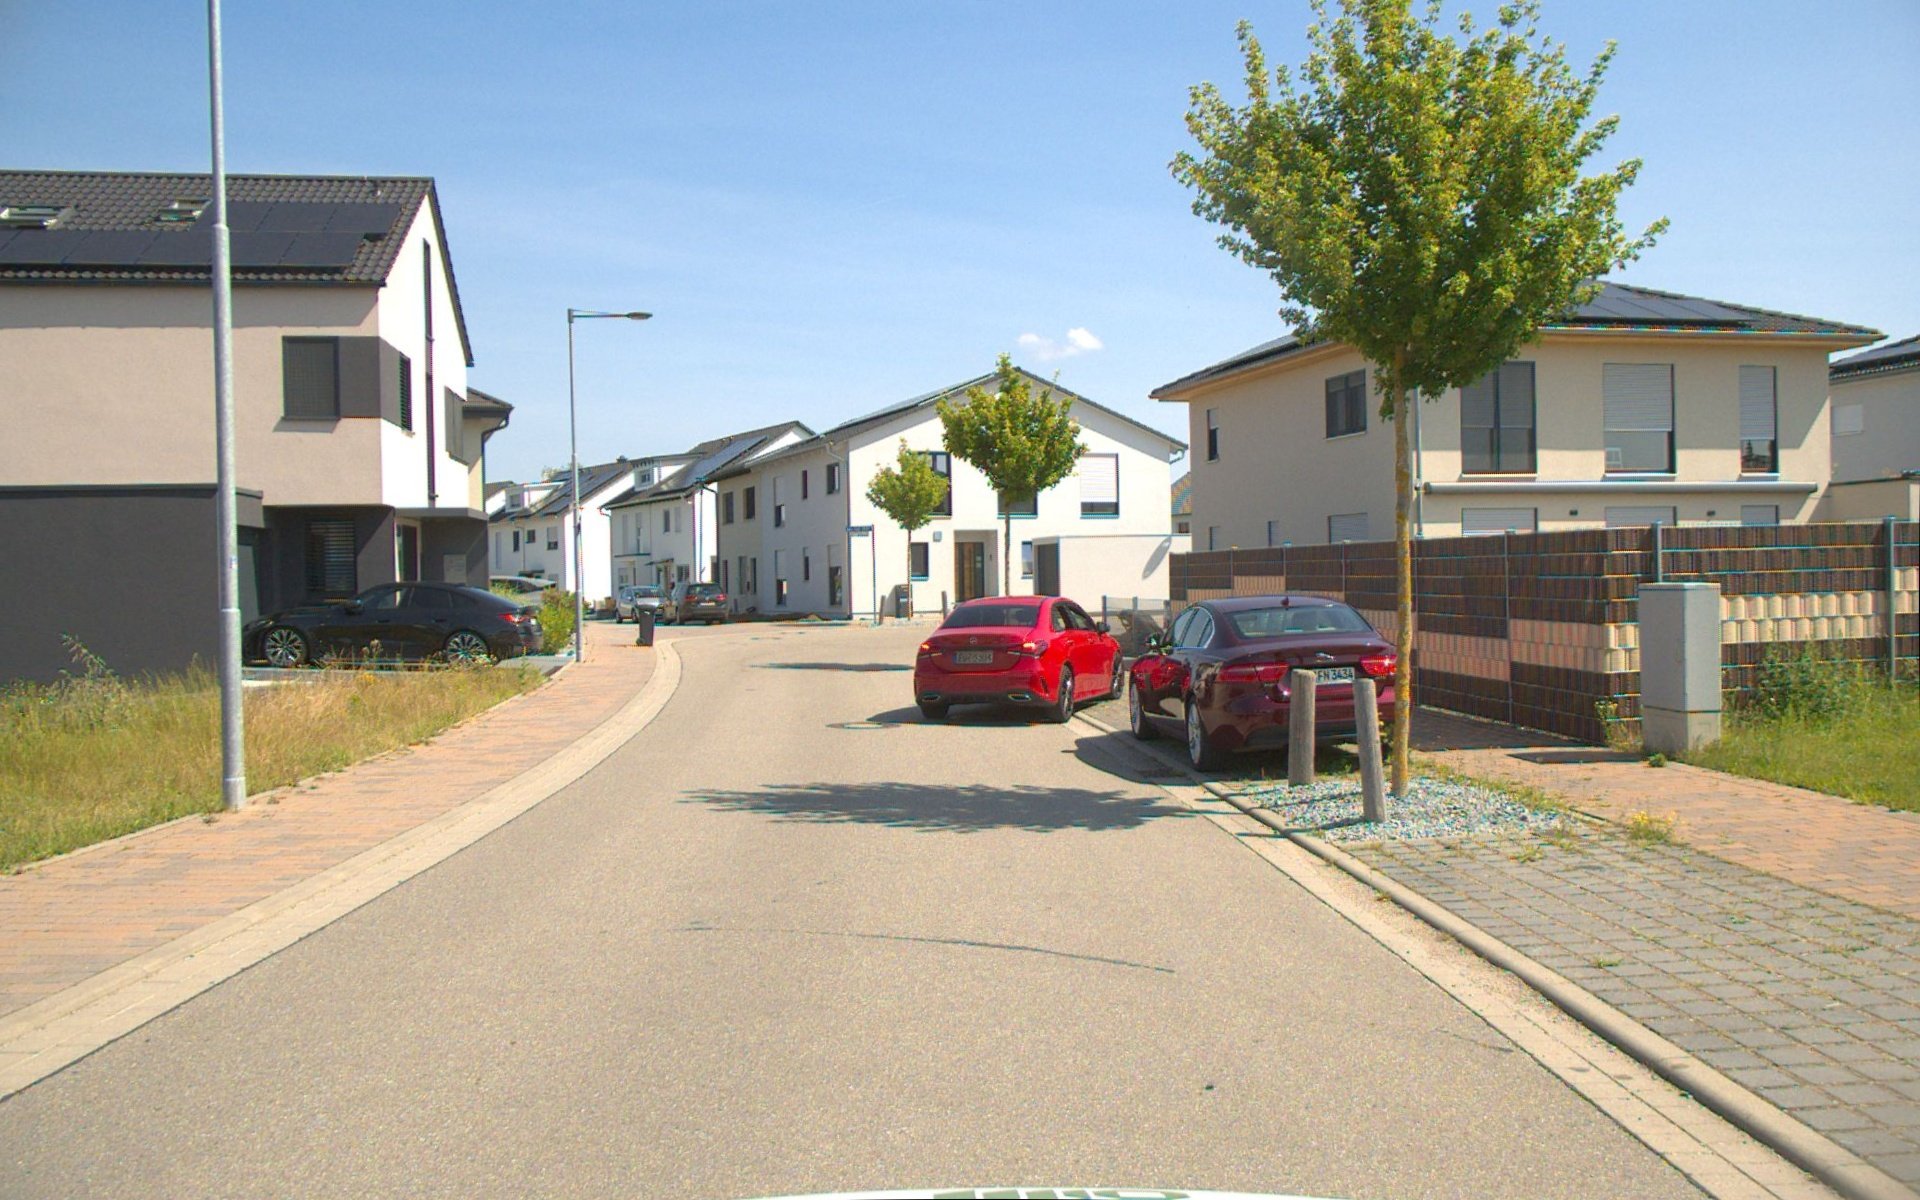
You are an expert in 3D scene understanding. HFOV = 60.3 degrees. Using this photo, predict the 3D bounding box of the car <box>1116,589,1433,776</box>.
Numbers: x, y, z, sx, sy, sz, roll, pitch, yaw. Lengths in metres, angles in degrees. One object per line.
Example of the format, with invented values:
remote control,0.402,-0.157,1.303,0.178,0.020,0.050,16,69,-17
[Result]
car,2.687,0.629,15.248,1.720,1.387,4.572,-2,1,-4

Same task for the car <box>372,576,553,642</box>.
car,-11.965,0.194,39.970,3.910,1.512,1.752,-1,1,-6

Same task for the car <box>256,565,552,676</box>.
car,-9.022,0.331,27.161,4.293,1.660,1.768,1,0,-8

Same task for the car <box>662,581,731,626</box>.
car,-9.170,0.101,57.364,1.701,1.447,3.978,-2,1,-19

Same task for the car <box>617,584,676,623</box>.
car,-12.670,0.137,66.718,1.653,1.489,3.919,-2,1,-21

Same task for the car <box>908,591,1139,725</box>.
car,0.925,0.628,20.678,1.725,1.463,4.522,0,1,18

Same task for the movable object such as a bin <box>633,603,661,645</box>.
movable object such as a bin,-7.127,0.547,37.685,0.523,0.952,0.526,1,0,2
